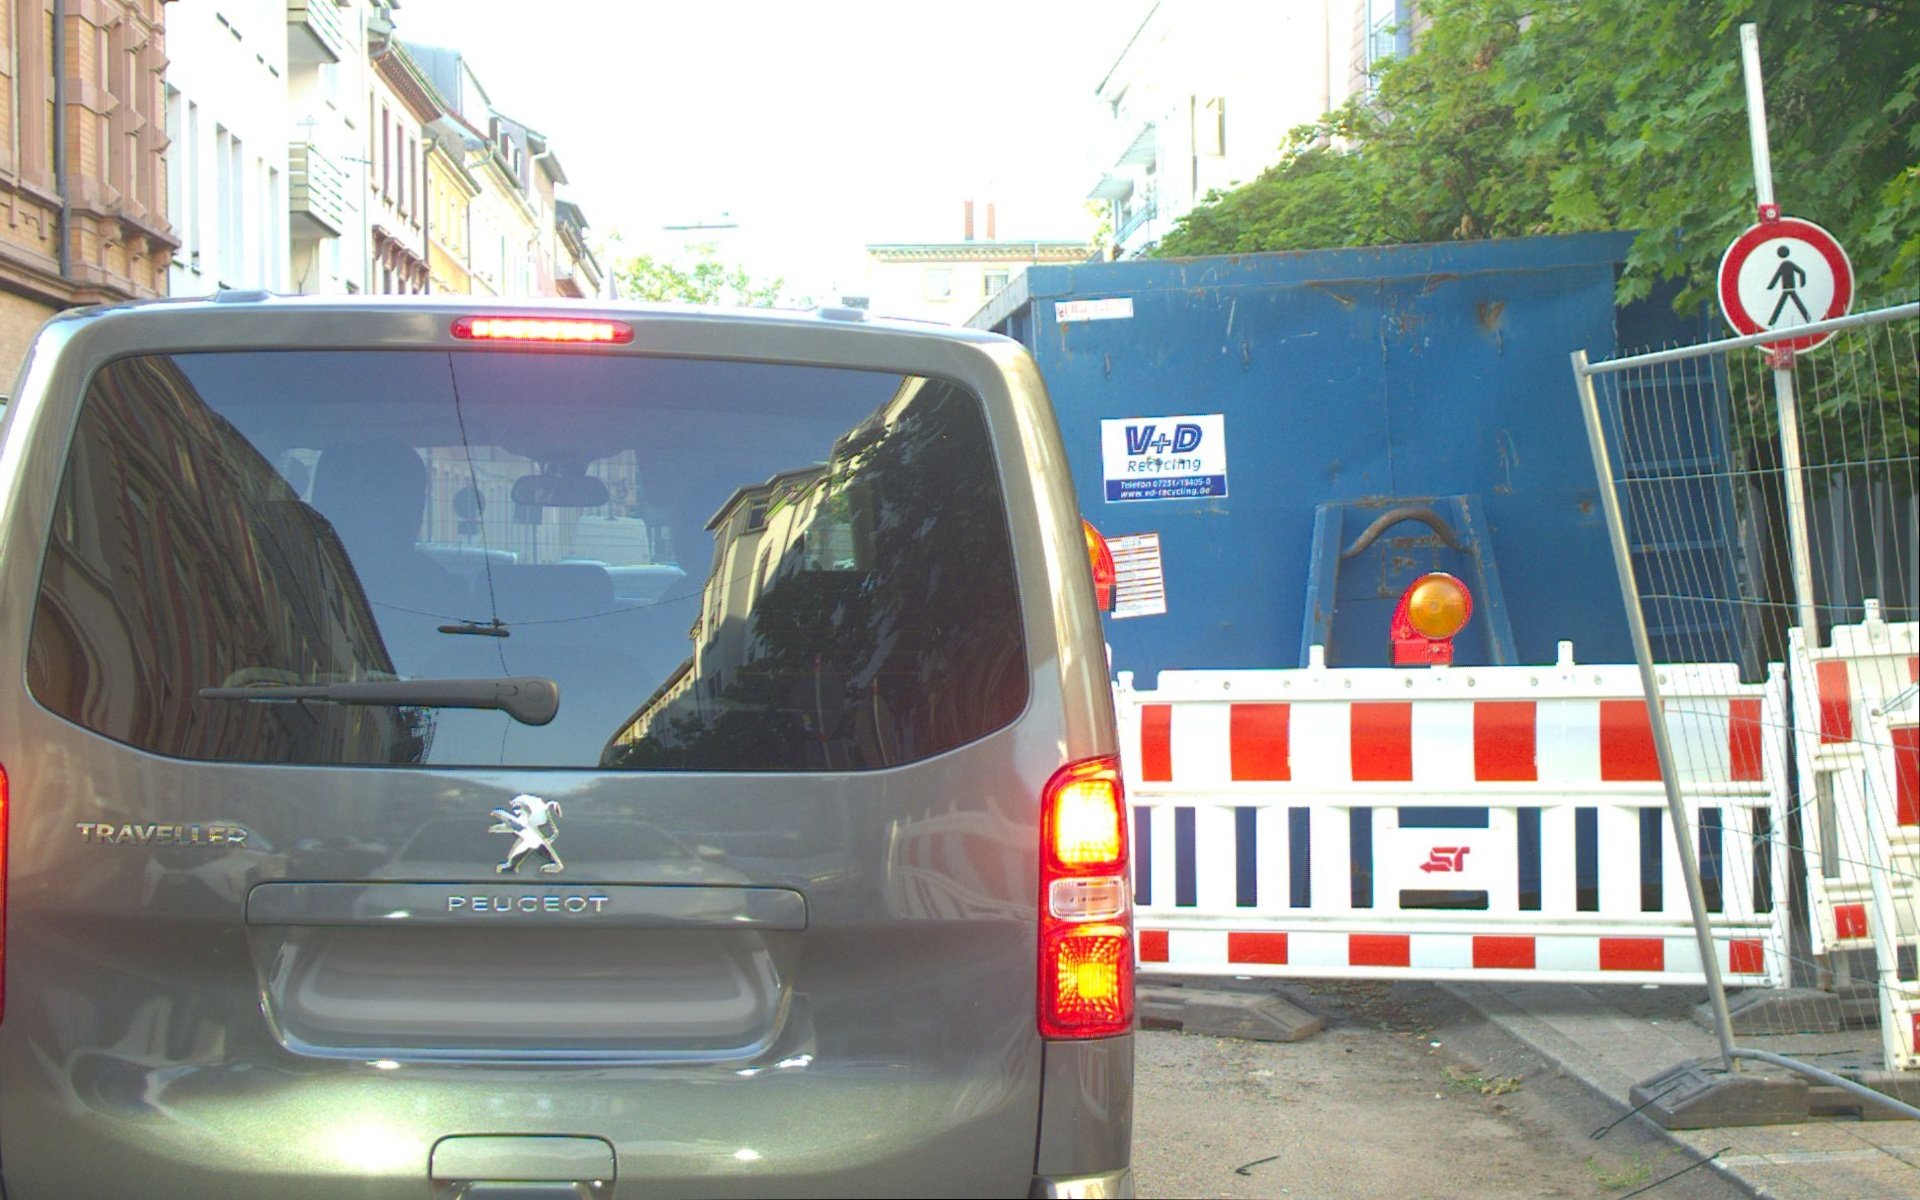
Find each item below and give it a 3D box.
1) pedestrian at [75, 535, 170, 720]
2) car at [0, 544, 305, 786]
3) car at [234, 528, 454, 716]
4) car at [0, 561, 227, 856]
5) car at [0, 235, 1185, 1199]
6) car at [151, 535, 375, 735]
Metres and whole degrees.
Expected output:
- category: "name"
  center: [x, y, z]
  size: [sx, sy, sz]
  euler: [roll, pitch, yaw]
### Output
- category: "pedestrian"
  center: [-7.659, 0.240, 31.460]
  size: [0.739, 1.659, 0.704]
  euler: [-1, 1, -7]
- category: "car"
  center: [-5.736, 0.430, 24.744]
  size: [1.655, 1.520, 3.418]
  euler: [4, 0, -7]
- category: "car"
  center: [-6.293, 0.205, 35.472]
  size: [1.891, 1.714, 3.755]
  euler: [4, 0, -7]
- category: "car"
  center: [-5.203, 0.534, 19.436]
  size: [1.655, 1.455, 3.418]
  euler: [4, 0, -7]
- category: "car"
  center: [-0.864, 0.452, 6.684]
  size: [1.865, 1.880, 4.236]
  euler: [0, 0, -7]
- category: "car"
  center: [-6.399, 0.303, 31.826]
  size: [1.666, 1.660, 3.092]
  euler: [4, 0, -7]
